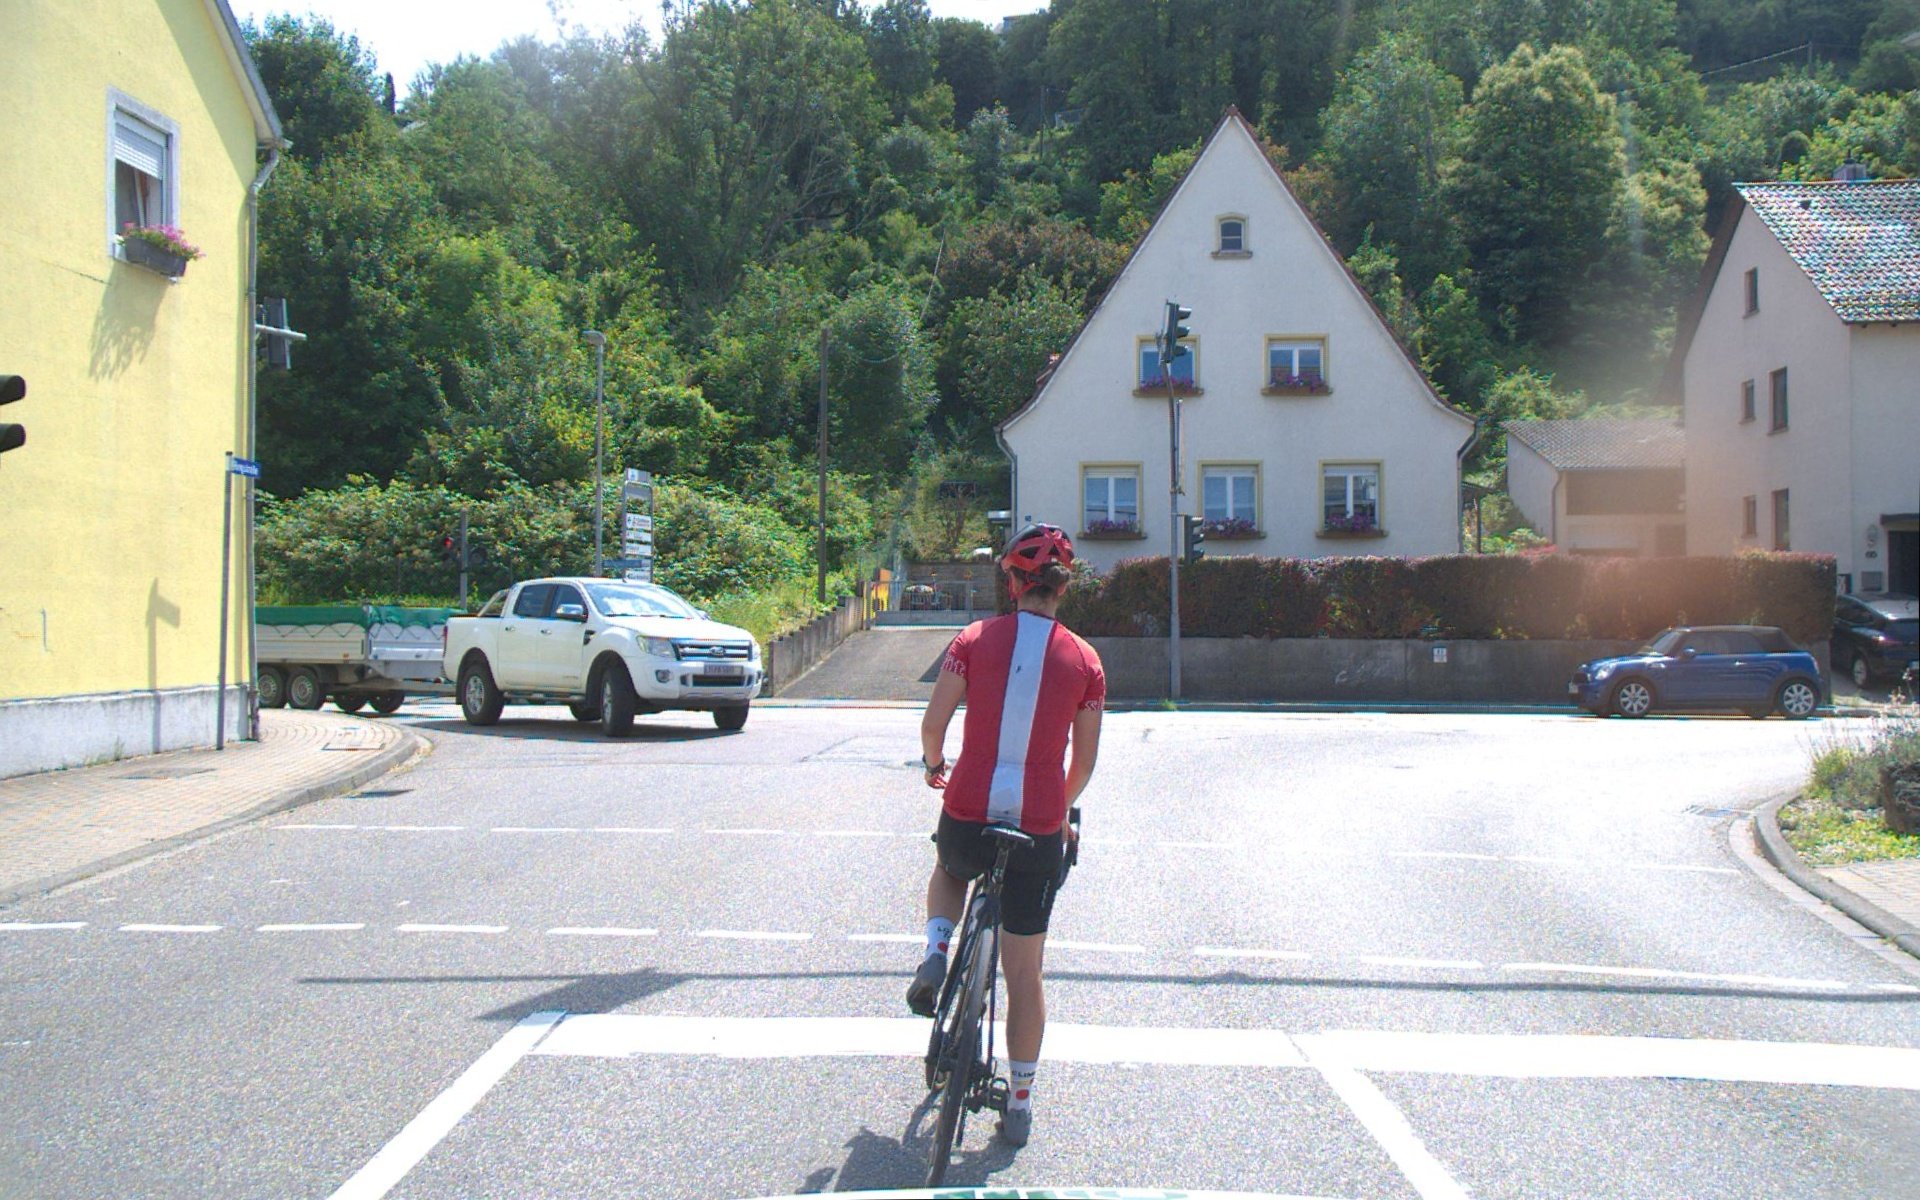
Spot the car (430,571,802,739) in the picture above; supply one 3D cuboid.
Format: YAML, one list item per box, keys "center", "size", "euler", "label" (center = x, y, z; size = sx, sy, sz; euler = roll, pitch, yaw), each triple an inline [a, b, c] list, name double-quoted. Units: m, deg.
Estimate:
- center: [-4.369, 0.616, 20.375]
  size: [1.965, 1.807, 5.226]
  euler: [-1, 0, -45]
  label: "car"

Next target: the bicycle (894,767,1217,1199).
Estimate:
- center: [0.186, 1.007, 4.546]
  size: [0.617, 0.920, 1.655]
  euler: [1, 0, -6]
  label: "bicycle"

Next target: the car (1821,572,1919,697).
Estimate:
- center: [17.328, 0.581, 30.764]
  size: [1.758, 1.411, 3.696]
  euler: [0, 13, 19]
  label: "car"

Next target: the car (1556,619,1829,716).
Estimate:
- center: [11.320, 1.056, 25.734]
  size: [3.533, 1.387, 1.645]
  euler: [1, -3, 3]
  label: "car"

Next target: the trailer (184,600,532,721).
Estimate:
- center: [-8.462, 0.838, 23.303]
  size: [4.339, 1.566, 1.979]
  euler: [-1, 0, 20]
  label: "trailer"

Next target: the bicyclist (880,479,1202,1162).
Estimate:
- center: [0.185, 0.555, 4.573]
  size: [0.746, 1.693, 0.868]
  euler: [1, 0, -5]
  label: "bicyclist"
